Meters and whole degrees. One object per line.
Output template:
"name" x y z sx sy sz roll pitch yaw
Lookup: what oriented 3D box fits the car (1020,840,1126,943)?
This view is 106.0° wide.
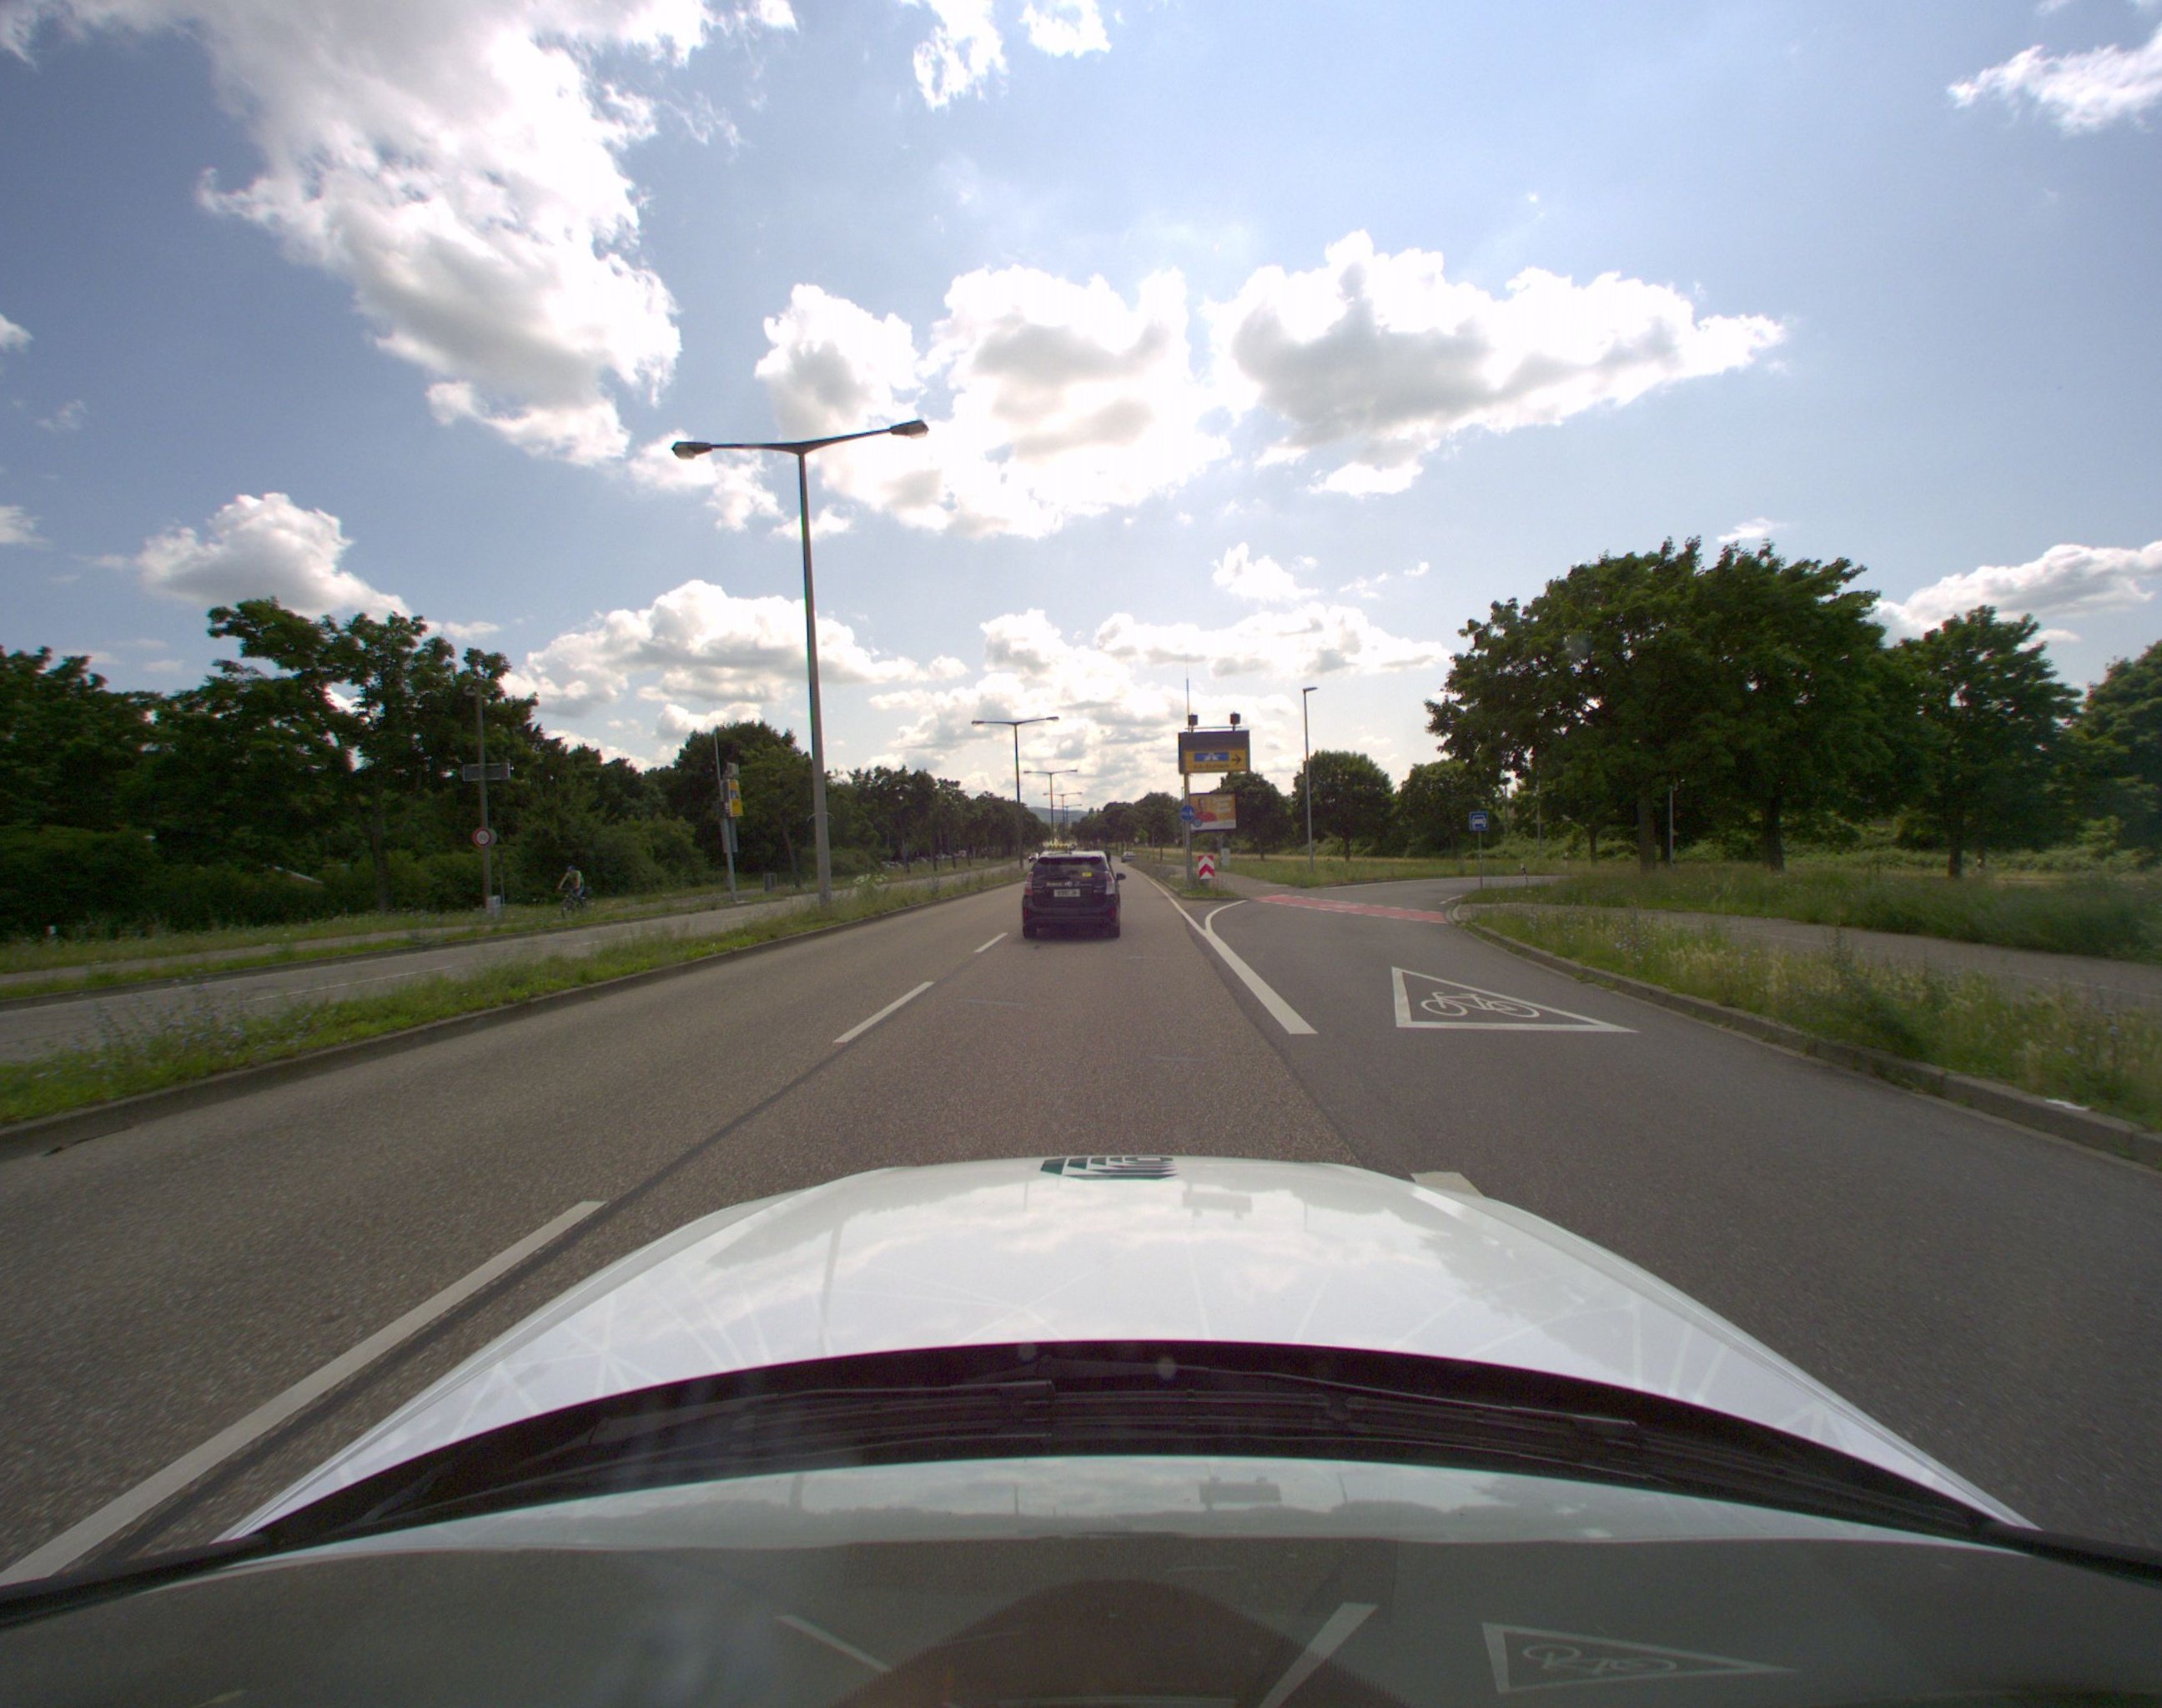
"car" -0.146 0.599 15.736 1.774 1.683 3.999 -1 1 -1

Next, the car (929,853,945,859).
"car" -36.703 0.456 207.476 3.769 1.387 1.787 -1 1 2

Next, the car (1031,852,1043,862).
"car" -8.316 0.550 153.169 1.870 1.790 4.728 -4 0 0

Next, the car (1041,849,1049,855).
"car" -9.960 -0.525 224.950 1.701 1.427 3.663 -2 0 -9

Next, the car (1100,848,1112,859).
"car" 4.183 -0.093 137.341 1.987 1.661 4.000 -1 1 0

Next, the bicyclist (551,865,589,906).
"bicyclist" -16.717 1.011 26.673 0.519 1.272 1.107 -1 1 0

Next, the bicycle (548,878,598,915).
"bicycle" -16.702 1.384 26.804 0.430 1.068 1.907 -1 1 0

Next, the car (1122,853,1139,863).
"car" 7.580 0.627 125.961 1.991 1.508 3.993 -1 1 -6
